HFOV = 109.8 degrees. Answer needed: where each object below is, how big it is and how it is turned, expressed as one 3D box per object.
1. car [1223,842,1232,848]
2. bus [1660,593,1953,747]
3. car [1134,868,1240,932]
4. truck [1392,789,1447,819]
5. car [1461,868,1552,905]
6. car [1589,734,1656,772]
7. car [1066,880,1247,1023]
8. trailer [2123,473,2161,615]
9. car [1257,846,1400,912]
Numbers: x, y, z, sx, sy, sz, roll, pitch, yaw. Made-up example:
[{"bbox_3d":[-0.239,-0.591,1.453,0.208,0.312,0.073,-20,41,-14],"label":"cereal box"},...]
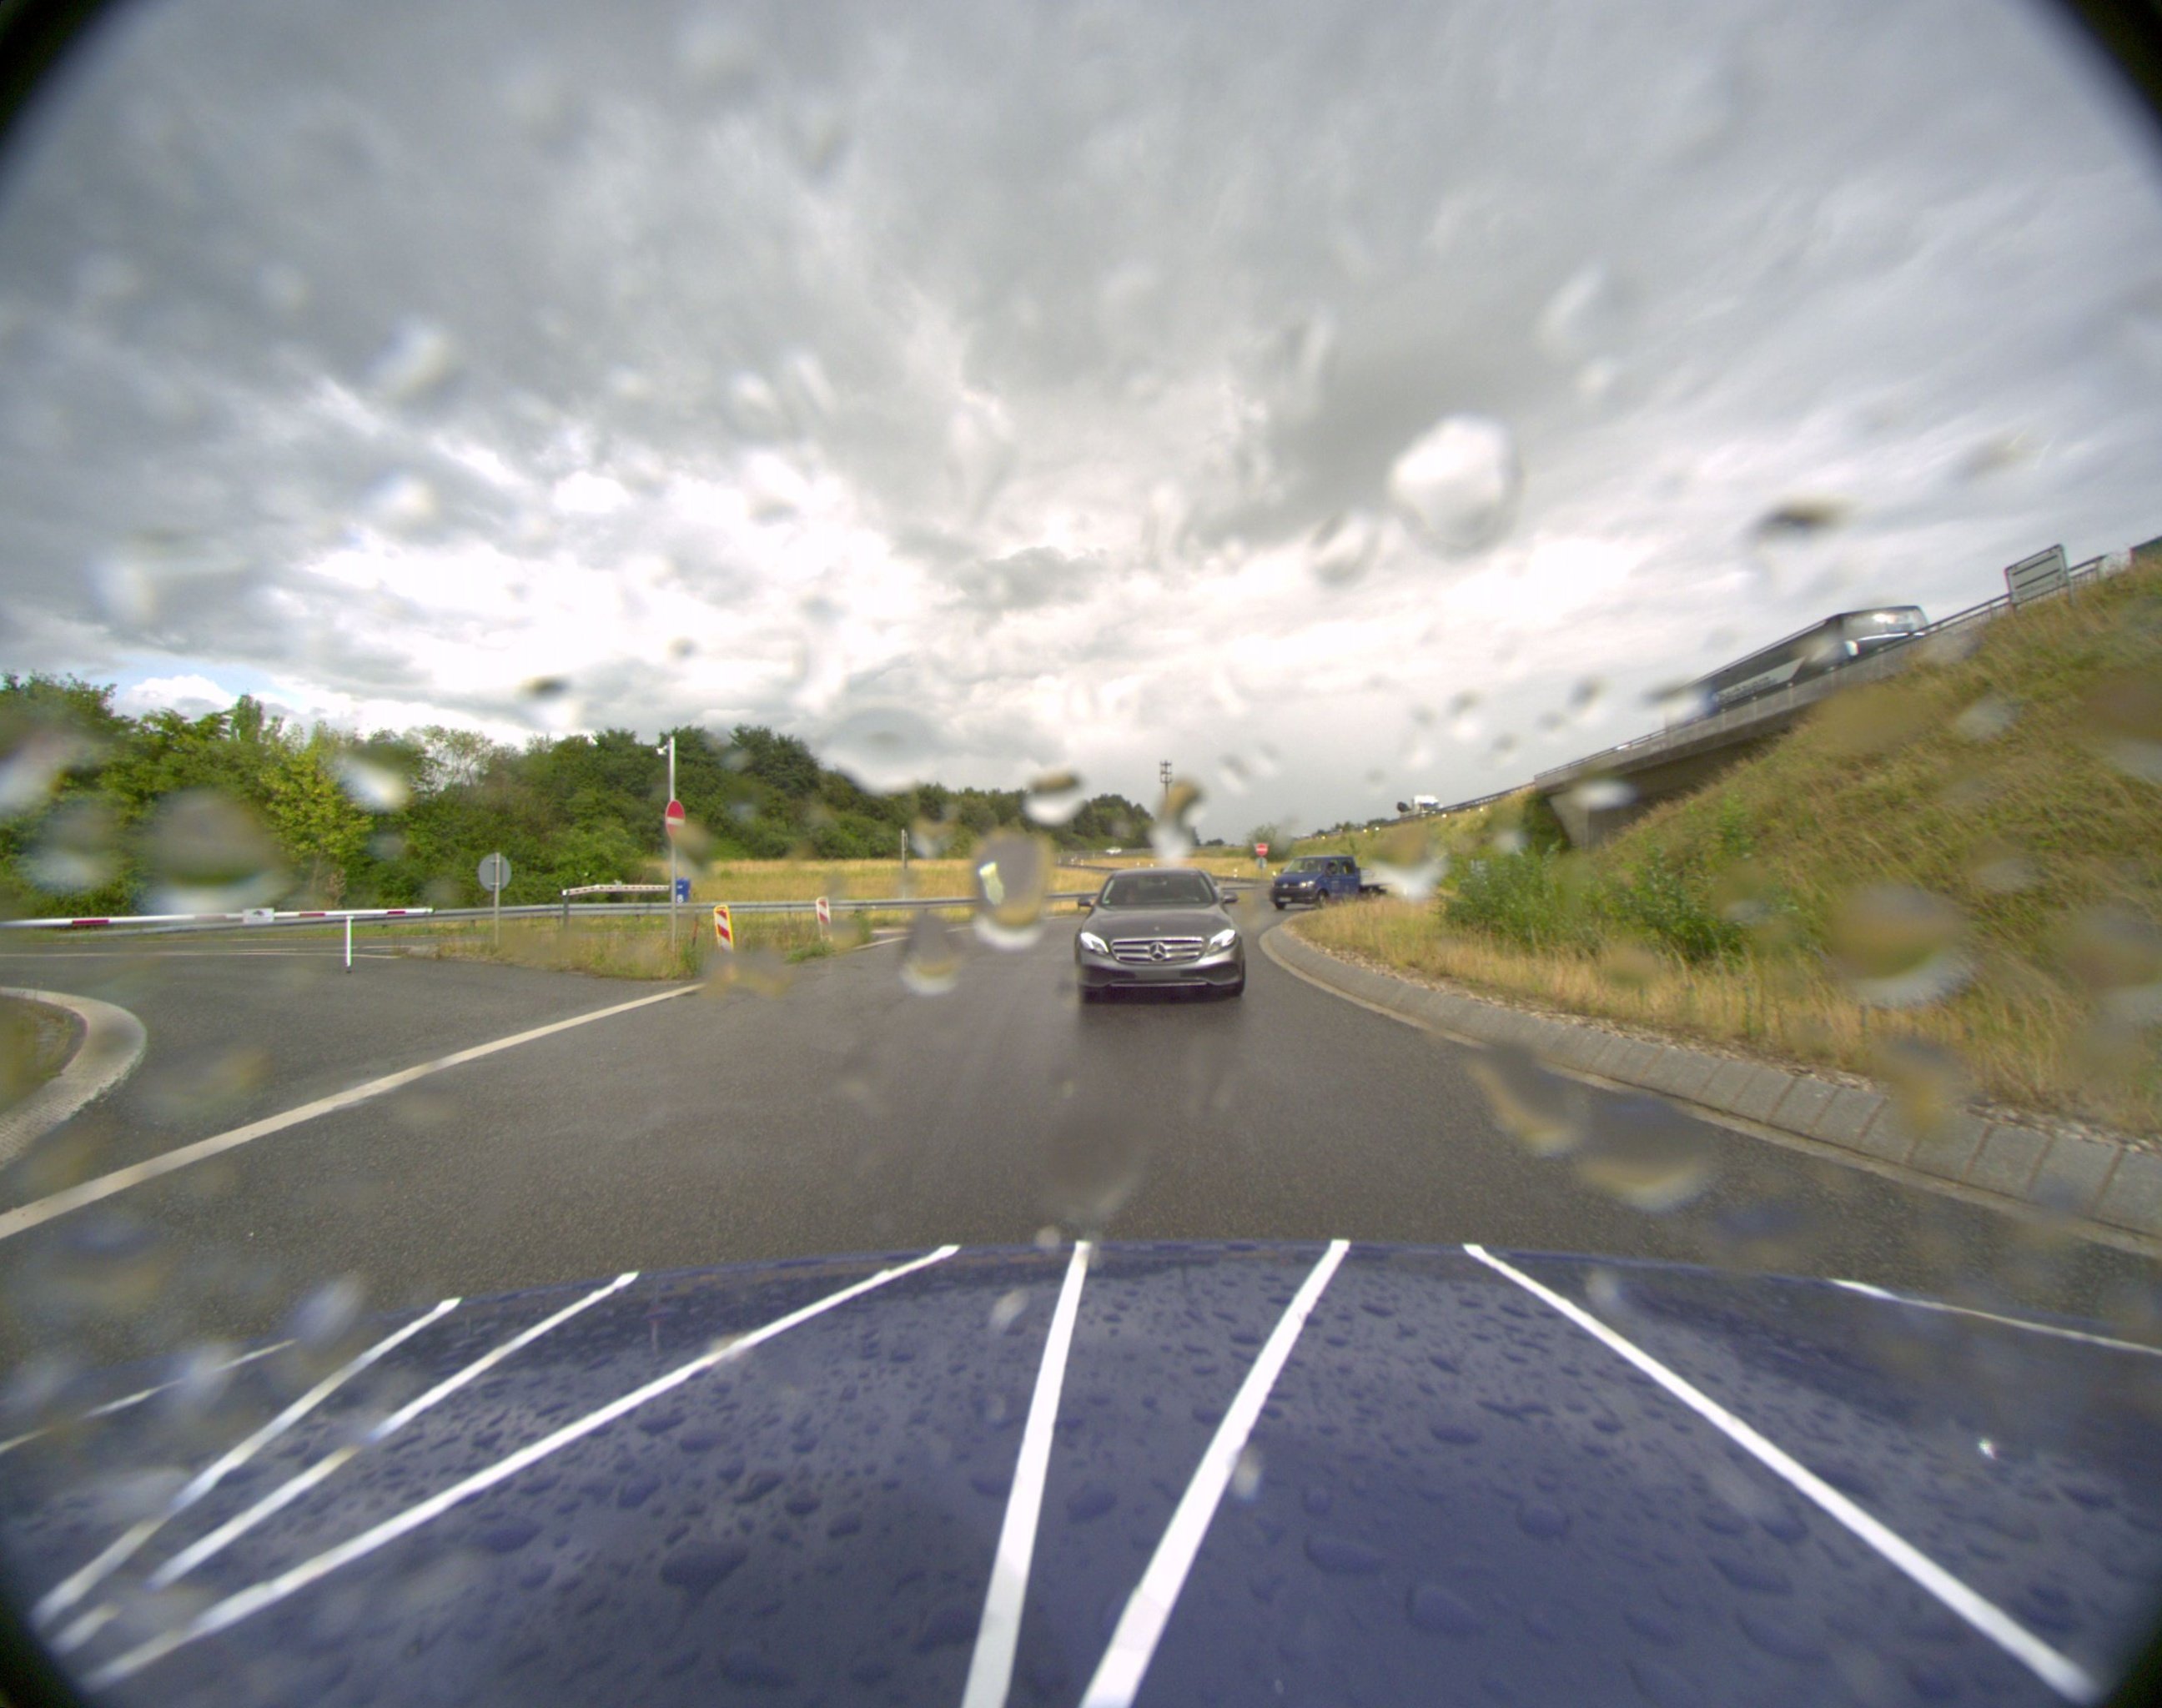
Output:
[{"bbox_3d":[42.888,-2.554,222.911,1.763,1.633,3.900,-2,0,23],"label":"car"},{"bbox_3d":[29.933,-7.220,32.834,2.608,3.061,14.481,-2,0,16],"label":"bus"},{"bbox_3d":[2.958,1.137,20.382,1.794,1.390,4.356,0,1,22],"label":"car"},{"bbox_3d":[44.523,-6.525,100.361,3.159,3.175,9.280,-2,0,1],"label":"truck"},{"bbox_3d":[18.794,1.399,33.542,3.934,1.527,1.569,0,-1,-27],"label":"car"},{"bbox_3d":[35.063,-6.499,49.372,1.711,1.517,4.498,-12,-2,12],"label":"car"},{"bbox_3d":[0.848,1.049,9.831,1.770,1.383,4.593,-1,-2,2],"label":"car"},{"bbox_3d":[23.825,-6.960,13.230,2.183,2.854,8.342,-2,0,18],"label":"trailer"},{"bbox_3d":[9.169,0.874,27.858,5.691,1.904,1.889,-4,0,-36],"label":"car"}]
